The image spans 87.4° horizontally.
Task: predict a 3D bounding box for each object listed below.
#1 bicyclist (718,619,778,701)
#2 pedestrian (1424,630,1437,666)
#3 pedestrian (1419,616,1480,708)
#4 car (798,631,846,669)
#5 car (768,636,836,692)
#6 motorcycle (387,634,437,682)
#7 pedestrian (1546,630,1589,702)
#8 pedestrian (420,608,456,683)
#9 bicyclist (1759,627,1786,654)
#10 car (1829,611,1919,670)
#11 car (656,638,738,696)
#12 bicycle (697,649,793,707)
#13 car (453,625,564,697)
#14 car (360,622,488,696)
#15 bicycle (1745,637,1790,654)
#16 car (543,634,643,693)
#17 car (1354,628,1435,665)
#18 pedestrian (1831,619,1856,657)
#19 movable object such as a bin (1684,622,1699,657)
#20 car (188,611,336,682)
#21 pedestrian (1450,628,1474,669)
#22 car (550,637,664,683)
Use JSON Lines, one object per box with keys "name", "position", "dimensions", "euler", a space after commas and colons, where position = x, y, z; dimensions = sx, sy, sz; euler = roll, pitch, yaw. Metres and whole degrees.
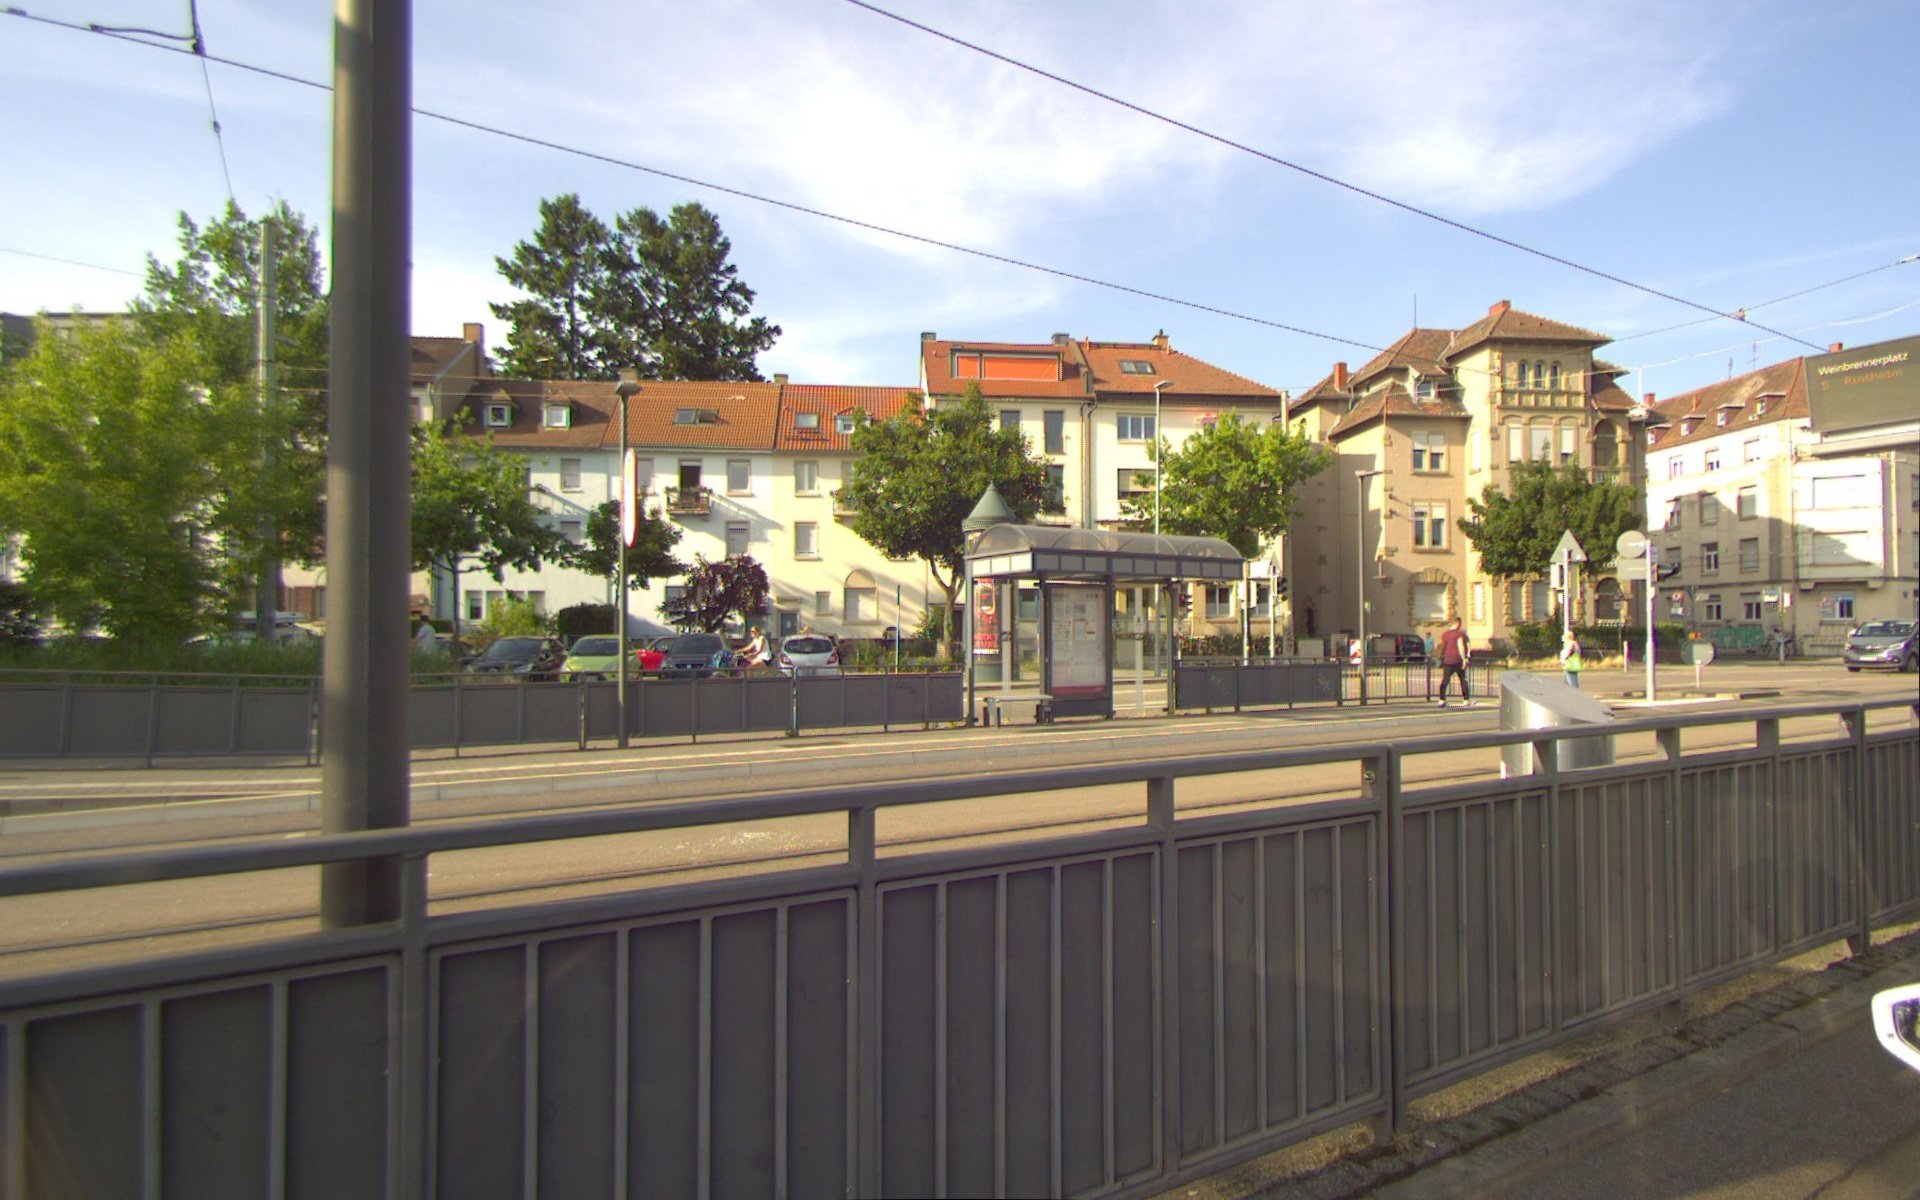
{"name": "bicyclist", "position": [-4.469, 1.236, 21.150], "dimensions": [1.059, 1.646, 0.701], "euler": [0, 1, -29]}
{"name": "pedestrian", "position": [20.521, 2.095, 43.818], "dimensions": [0.382, 1.535, 0.405], "euler": [0, -2, -3]}
{"name": "pedestrian", "position": [9.258, 1.161, 18.985], "dimensions": [0.874, 1.692, 0.666], "euler": [1, -2, -33]}
{"name": "car", "position": [-6.054, 2.181, 44.381], "dimensions": [1.821, 1.578, 3.998], "euler": [0, -2, -4]}
{"name": "car", "position": [-4.377, 1.722, 27.973], "dimensions": [1.740, 1.447, 3.995], "euler": [0, -2, -9]}
{"name": "motorcycle", "position": [-12.310, 1.288, 22.564], "dimensions": [0.912, 1.065, 0.496], "euler": [1, -2, -37]}
{"name": "pedestrian", "position": [13.906, 1.503, 22.992], "dimensions": [0.708, 1.610, 0.586], "euler": [1, -2, -34]}
{"name": "pedestrian", "position": [-11.899, 1.037, 22.883], "dimensions": [0.665, 1.677, 0.367], "euler": [1, -2, -38]}
{"name": "bicyclist", "position": [48.184, 2.399, 59.569], "dimensions": [0.652, 1.590, 1.038], "euler": [1, -2, -22]}
{"name": "car", "position": [34.421, 1.457, 36.604], "dimensions": [5.313, 2.040, 2.140], "euler": [1, -2, -25]}
{"name": "car", "position": [-7.073, 1.757, 27.345], "dimensions": [1.740, 1.447, 3.995], "euler": [0, -2, -9]}
{"name": "bicycle", "position": [-4.525, 1.619, 21.155], "dimensions": [1.842, 1.125, 0.722], "euler": [1, 1, -30]}
{"name": "car", "position": [-11.978, 1.578, 26.909], "dimensions": [1.822, 1.777, 3.993], "euler": [0, -2, -11]}
{"name": "car", "position": [-13.891, 1.496, 26.291], "dimensions": [1.822, 1.777, 3.993], "euler": [0, -2, -11]}
{"name": "bicycle", "position": [48.092, 2.701, 59.828], "dimensions": [0.732, 1.019, 1.987], "euler": [1, -2, -22]}
{"name": "car", "position": [-9.735, 1.638, 26.938], "dimensions": [1.740, 1.447, 3.995], "euler": [0, -2, -9]}
{"name": "car", "position": [20.256, 2.141, 46.991], "dimensions": [1.742, 1.653, 3.998], "euler": [0, -2, -5]}
{"name": "pedestrian", "position": [44.289, 1.895, 50.352], "dimensions": [0.616, 1.905, 0.659], "euler": [0, -2, -15]}
{"name": "movable object such as a bin", "position": [37.009, 1.967, 50.844], "dimensions": [0.259, 1.732, 2.379], "euler": [-1, -2, 29]}
{"name": "car", "position": [-18.968, 1.246, 27.529], "dimensions": [1.822, 1.777, 3.993], "euler": [0, -2, -11]}
{"name": "pedestrian", "position": [20.959, 2.027, 41.947], "dimensions": [0.592, 1.673, 0.681], "euler": [0, -1, -3]}
{"name": "car", "position": [-12.189, 2.057, 34.864], "dimensions": [3.444, 1.544, 1.567], "euler": [0, -2, -7]}
